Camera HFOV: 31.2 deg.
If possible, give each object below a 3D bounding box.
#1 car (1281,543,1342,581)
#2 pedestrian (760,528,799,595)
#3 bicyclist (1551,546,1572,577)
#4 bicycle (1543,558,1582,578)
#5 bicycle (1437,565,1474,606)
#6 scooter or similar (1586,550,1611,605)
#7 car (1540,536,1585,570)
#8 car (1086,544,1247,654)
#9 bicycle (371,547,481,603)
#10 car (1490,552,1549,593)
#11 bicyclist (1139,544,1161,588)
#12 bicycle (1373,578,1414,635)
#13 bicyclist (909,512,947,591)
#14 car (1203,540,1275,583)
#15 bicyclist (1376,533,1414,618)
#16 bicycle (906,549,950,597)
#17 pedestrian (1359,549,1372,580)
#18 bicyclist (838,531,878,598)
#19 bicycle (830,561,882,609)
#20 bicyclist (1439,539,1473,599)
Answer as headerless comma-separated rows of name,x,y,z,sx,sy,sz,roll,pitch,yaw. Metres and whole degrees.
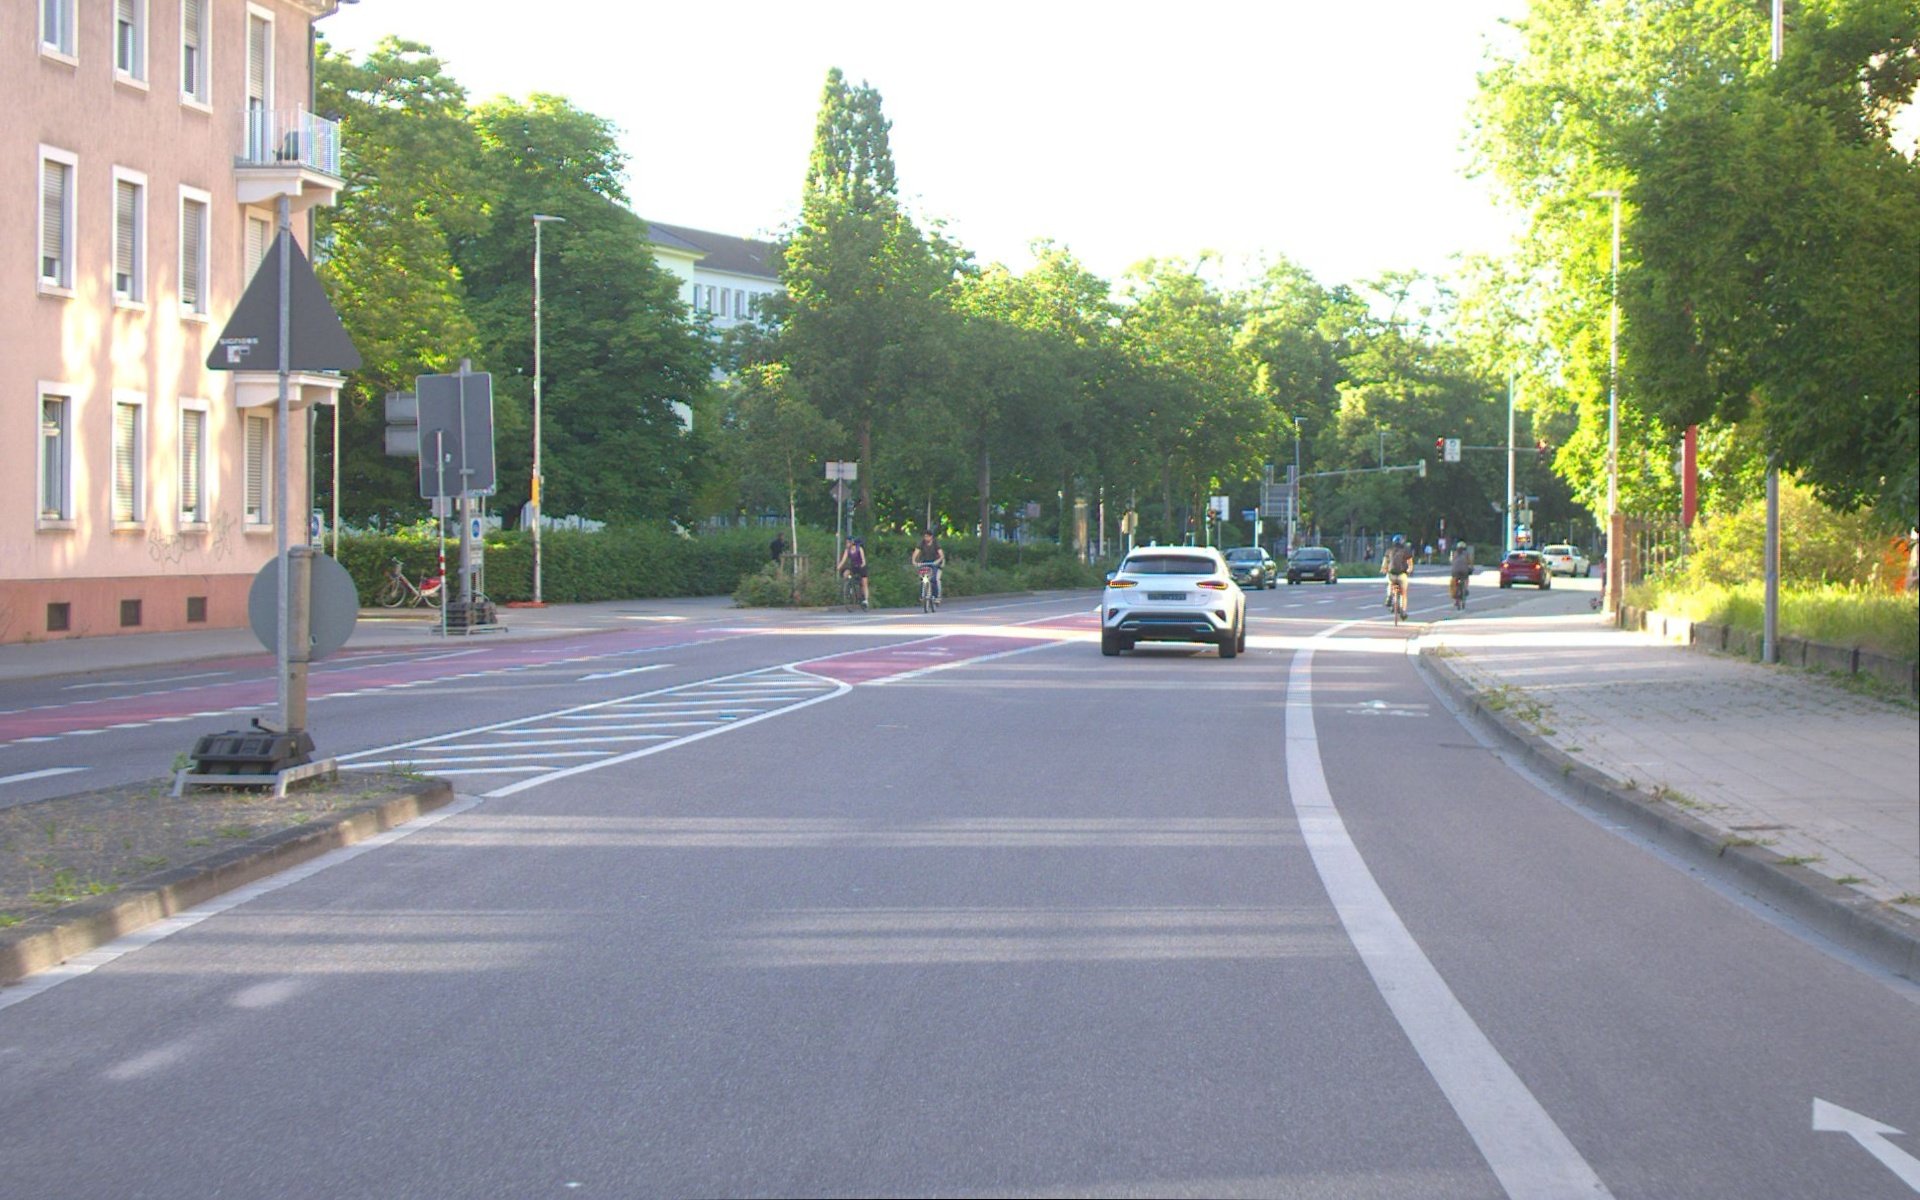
car,13.737,-1.492,134.258,1.759,1.454,3.997,0,1,15
pedestrian,-5.045,-1.085,96.087,0.856,1.845,1.001,0,1,12
bicyclist,29.258,-1.892,167.165,0.923,1.503,0.506,0,1,21
bicycle,29.291,-1.547,167.157,1.768,0.986,0.512,0,1,21
bicycle,12.809,-0.383,88.798,0.753,1.022,1.868,2,1,14
scooter or similar,14.337,-0.509,77.195,0.297,1.235,1.161,-1,1,-3
car,28.319,-2.213,161.552,1.738,1.541,3.997,0,1,15
car,2.896,-0.038,47.469,1.994,1.448,3.999,0,1,7
bicycle,-11.637,-0.549,74.915,2.321,1.225,0.560,0,1,13
car,21.546,-1.081,132.237,1.930,1.528,3.998,0,1,14
bicyclist,6.752,-1.213,122.009,0.629,1.517,0.724,-3,1,11
bicycle,8.270,0.106,65.542,0.643,1.021,2.212,2,1,10
bicyclist,-0.701,-1.061,75.277,0.636,1.704,0.738,-3,1,8
car,9.317,-1.299,114.594,1.812,1.415,4.552,0,1,12
bicyclist,8.325,-0.479,65.747,0.636,1.609,1.283,1,1,10
bicycle,-0.694,-0.597,75.124,0.646,0.992,2.109,-1,1,8
pedestrian,24.726,-2.178,209.712,0.652,1.881,0.662,0,1,16
bicyclist,-2.287,-0.811,77.324,0.738,1.480,0.665,-1,1,11
bicycle,-2.329,-0.346,77.182,0.737,0.992,2.108,-1,2,10
bicyclist,12.828,-0.795,88.868,0.748,1.532,0.969,1,1,14
